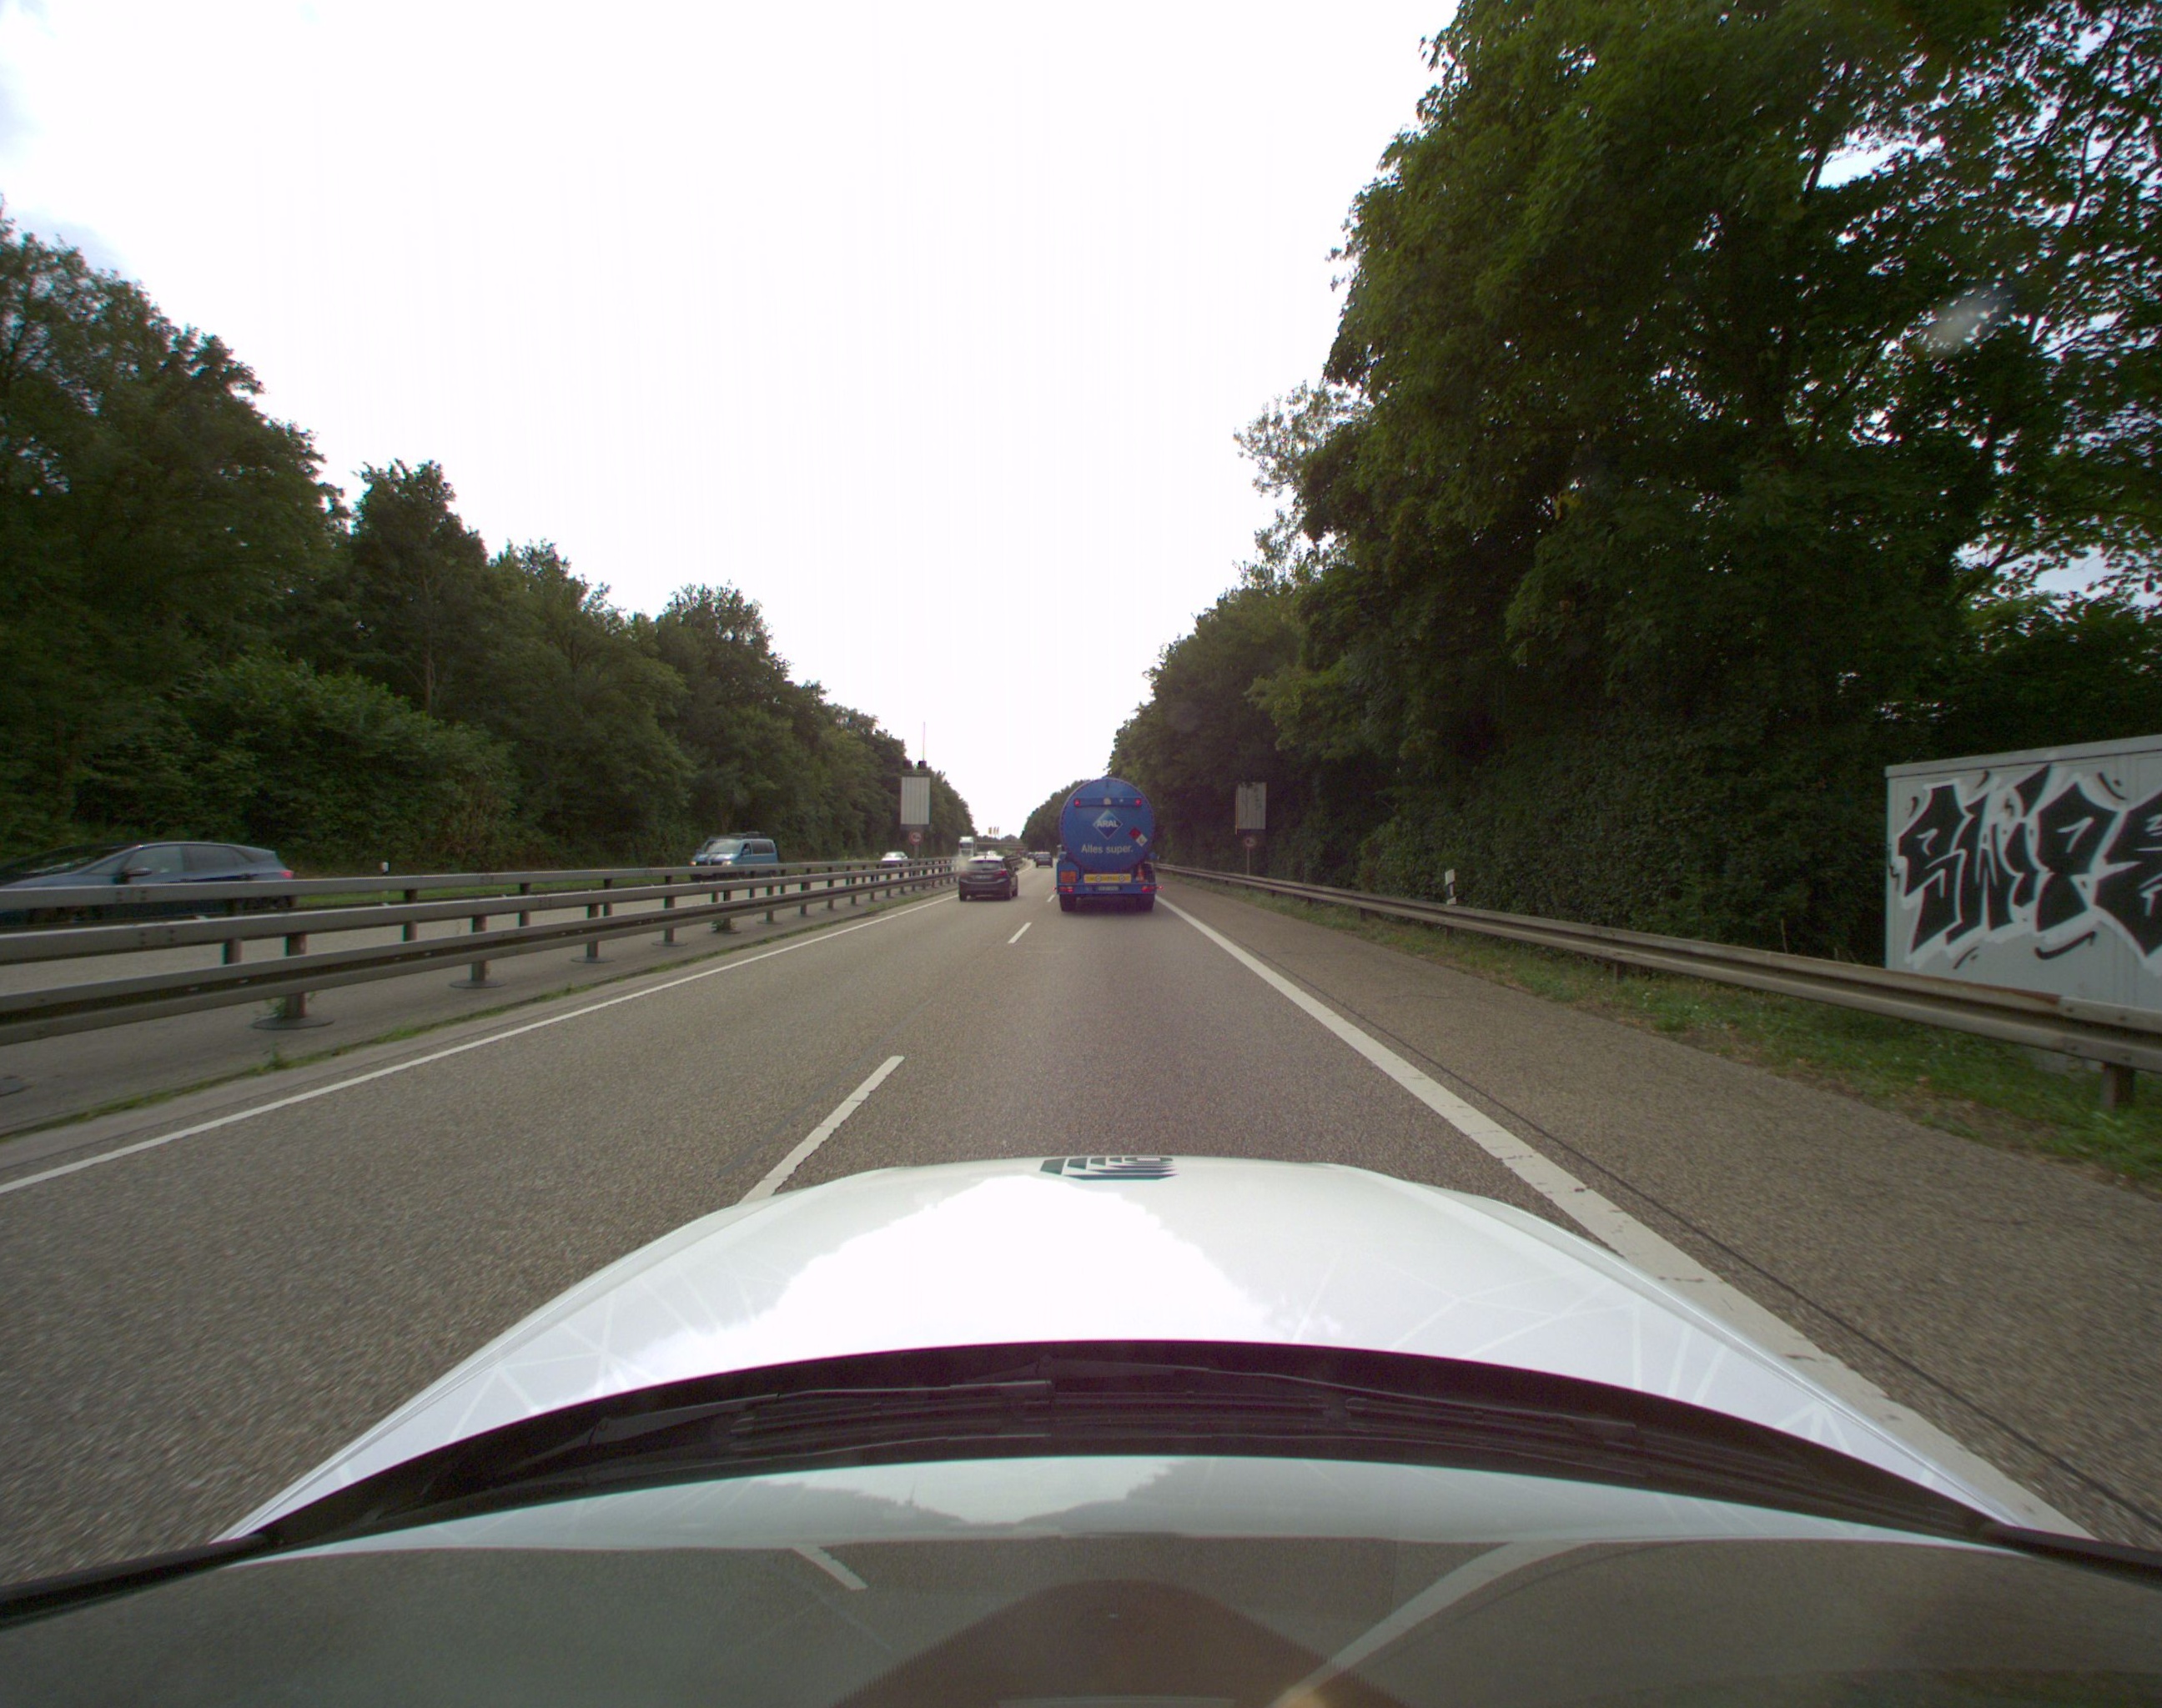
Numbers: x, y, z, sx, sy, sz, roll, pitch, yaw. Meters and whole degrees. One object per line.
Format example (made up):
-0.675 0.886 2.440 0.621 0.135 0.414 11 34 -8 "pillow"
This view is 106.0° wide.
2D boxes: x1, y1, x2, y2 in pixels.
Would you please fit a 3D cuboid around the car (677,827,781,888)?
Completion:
-14.668 0.145 34.295 1.928 2.321 5.306 -1 0 1 "car"

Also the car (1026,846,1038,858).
-8.468 -0.264 140.697 1.991 2.013 3.991 -1 0 -6 "car"

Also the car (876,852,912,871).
-15.235 0.568 66.674 1.988 1.481 4.130 -1 0 -1 "car"

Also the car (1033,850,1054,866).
-3.951 0.408 86.350 1.819 1.609 4.169 -1 0 2 "car"

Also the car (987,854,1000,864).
-14.634 0.806 136.760 1.787 1.549 4.127 -1 0 -1 "car"

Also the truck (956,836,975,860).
-20.073 -1.101 141.890 2.686 4.063 5.317 -1 0 -3 "truck"

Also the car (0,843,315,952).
-15.010 0.601 12.958 1.688 1.466 4.091 -1 0 1 "car"

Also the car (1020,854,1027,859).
-16.647 0.703 234.366 1.989 1.552 3.995 -1 0 -3 "car"

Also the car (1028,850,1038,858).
-10.424 -0.035 176.487 1.950 1.567 3.996 -1 0 -3 "car"

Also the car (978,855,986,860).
-27.080 0.948 222.436 1.737 1.189 4.287 -1 0 -2 "car"

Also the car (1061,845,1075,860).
-2.032 -0.270 126.312 1.987 2.244 3.999 -1 0 0 "car"

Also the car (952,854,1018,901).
-3.230 0.756 28.198 1.821 1.458 4.637 -1 0 -1 "car"

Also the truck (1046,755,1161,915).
0.632 -0.481 23.707 2.745 3.846 7.690 -1 0 1 "truck"
